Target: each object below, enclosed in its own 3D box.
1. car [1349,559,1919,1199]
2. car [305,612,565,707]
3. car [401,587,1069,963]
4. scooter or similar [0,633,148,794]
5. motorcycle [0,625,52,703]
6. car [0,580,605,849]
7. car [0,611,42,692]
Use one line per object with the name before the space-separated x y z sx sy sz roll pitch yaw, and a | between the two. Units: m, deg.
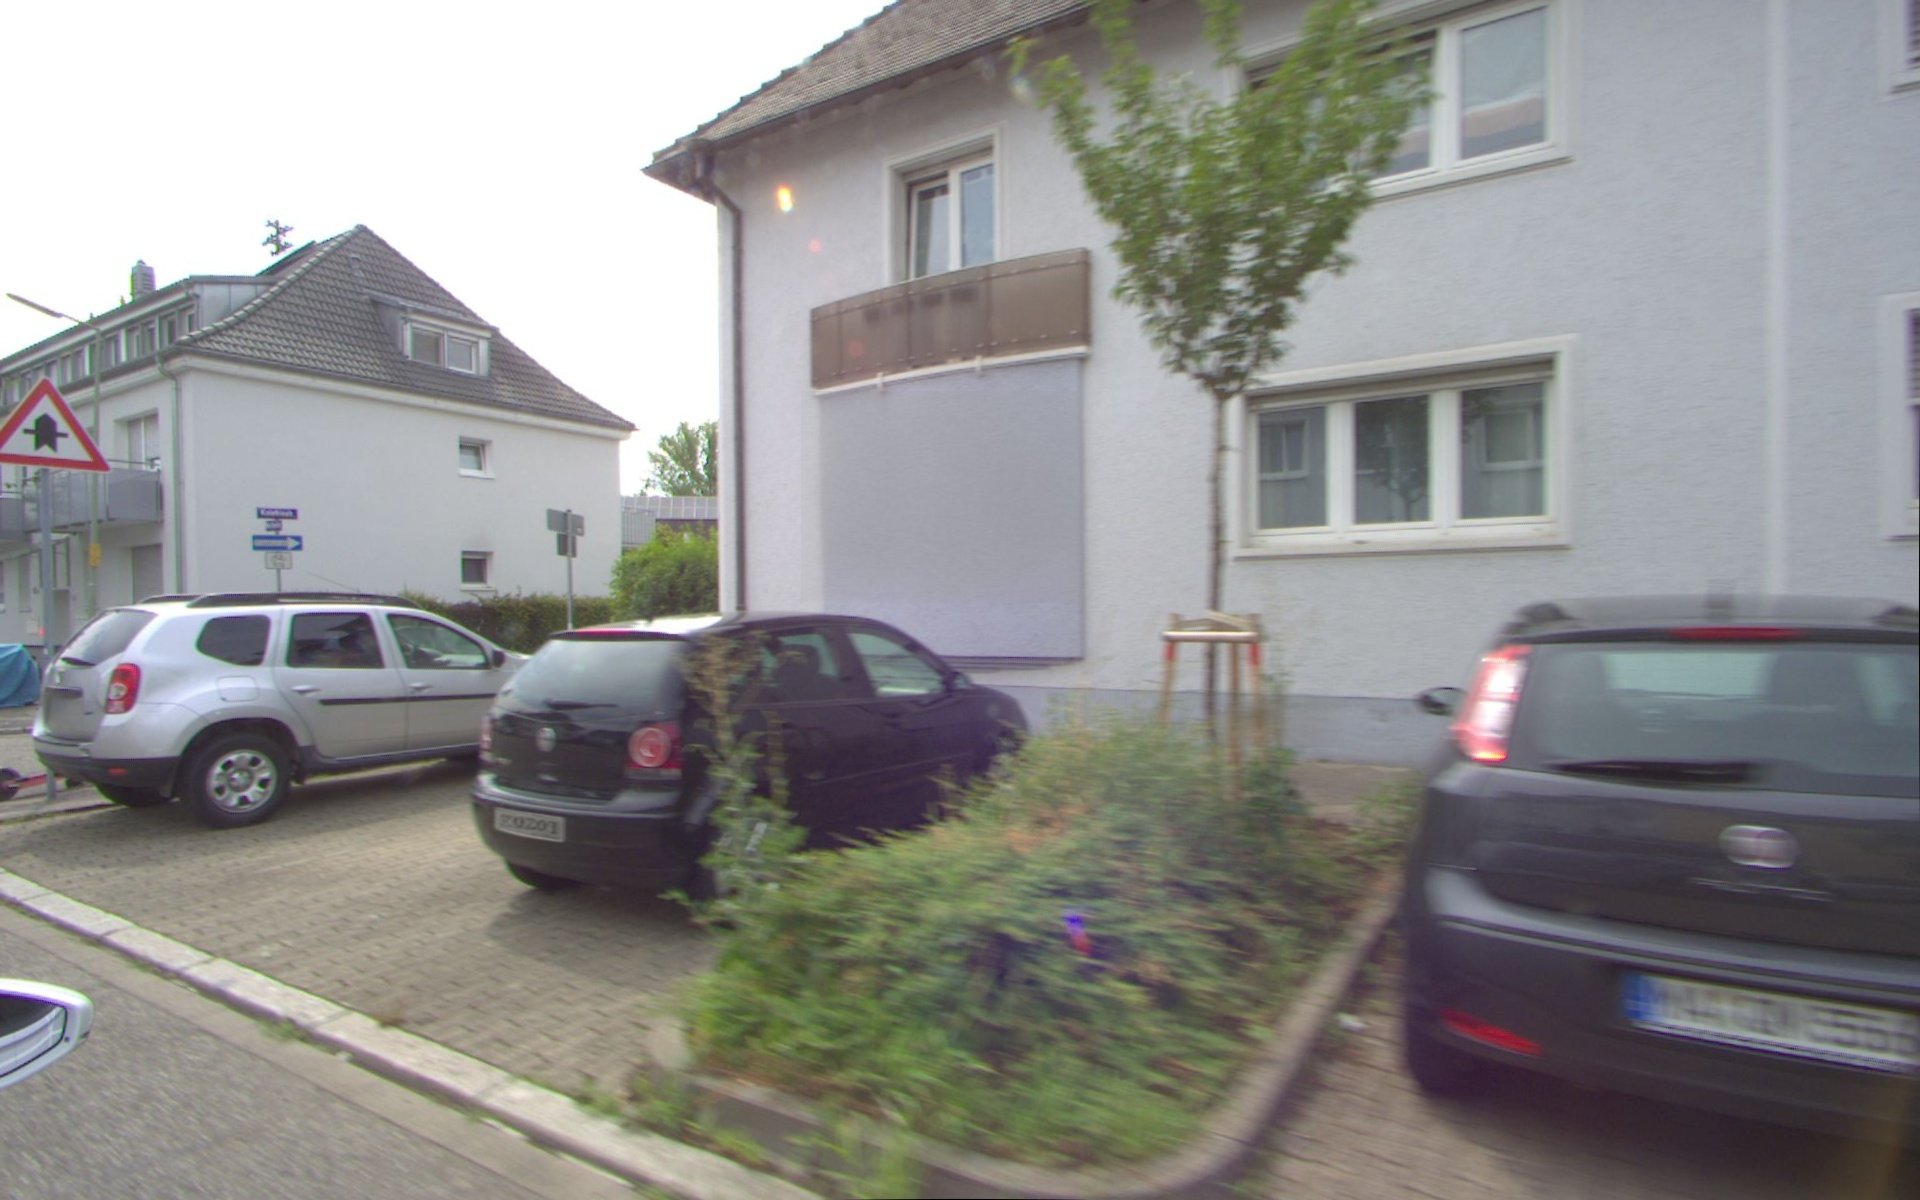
car | 2.779 0.639 3.788 1.688 1.528 3.976 0 2 33
car | -9.227 0.974 17.879 1.640 1.462 3.793 0 0 33
car | -0.980 0.702 6.198 1.688 1.441 3.976 -1 2 33
scooter or similar | -7.919 0.950 8.709 0.415 1.260 1.239 -1 2 20
motorcycle | -15.917 1.033 15.797 0.926 1.226 2.189 0 0 31
car | -5.259 0.706 8.508 1.841 1.655 3.914 -1 2 32
car | -18.163 0.956 16.802 1.748 1.384 3.736 -1 2 33
